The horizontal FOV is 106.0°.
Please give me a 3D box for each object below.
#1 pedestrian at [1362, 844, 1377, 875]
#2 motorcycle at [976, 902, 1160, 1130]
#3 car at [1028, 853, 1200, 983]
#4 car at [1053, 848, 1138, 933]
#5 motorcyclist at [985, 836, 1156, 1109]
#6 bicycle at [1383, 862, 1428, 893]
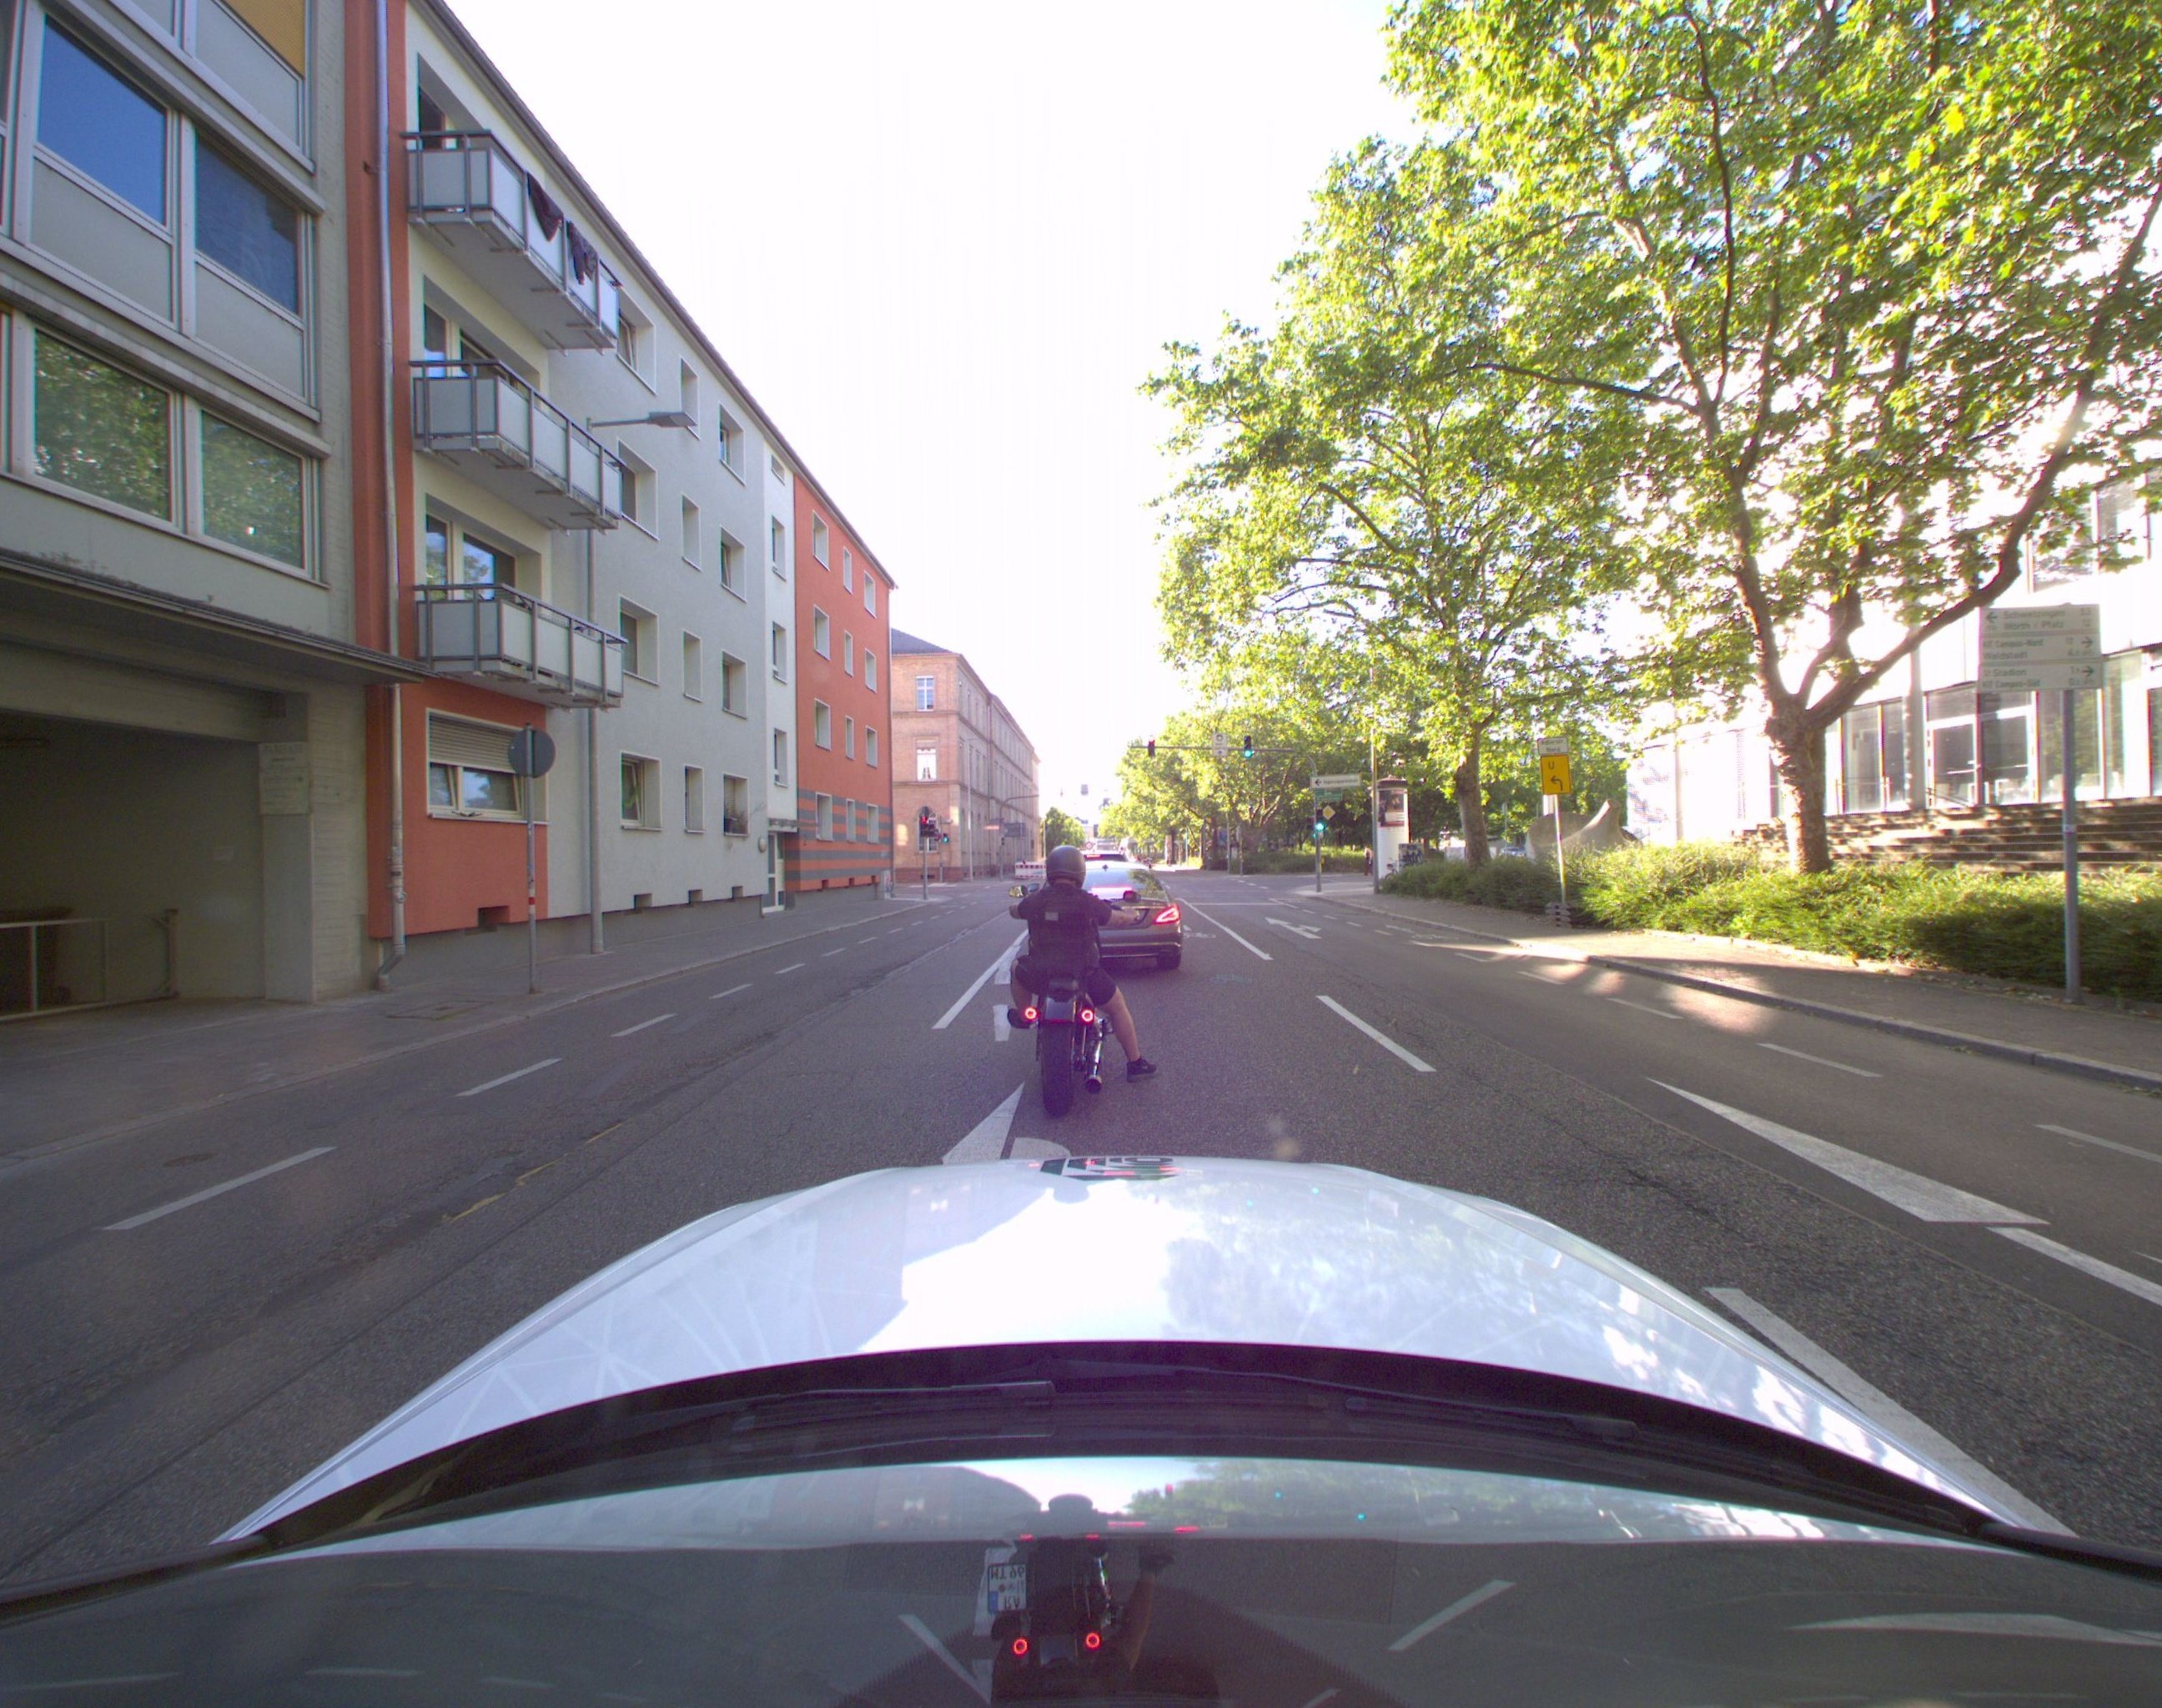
[{"bbox_3d":[15.966,0.299,45.078,0.625,1.666,0.686,-1,0,12],"label":"pedestrian"},{"bbox_3d":[-0.032,0.960,5.681,0.986,1.078,2.453,-1,0,2],"label":"motorcycle"},{"bbox_3d":[0.253,0.743,11.719,1.943,1.473,4.355,-1,0,-5],"label":"car"},{"bbox_3d":[0.317,0.707,17.889,1.606,1.607,4.329,-1,0,1],"label":"car"},{"bbox_3d":[-0.040,0.701,5.528,0.986,1.597,1.404,-1,0,2],"label":"motorcyclist"},{"bbox_3d":[10.950,0.795,27.468,1.346,1.023,0.363,-1,0,2],"label":"bicycle"}]
